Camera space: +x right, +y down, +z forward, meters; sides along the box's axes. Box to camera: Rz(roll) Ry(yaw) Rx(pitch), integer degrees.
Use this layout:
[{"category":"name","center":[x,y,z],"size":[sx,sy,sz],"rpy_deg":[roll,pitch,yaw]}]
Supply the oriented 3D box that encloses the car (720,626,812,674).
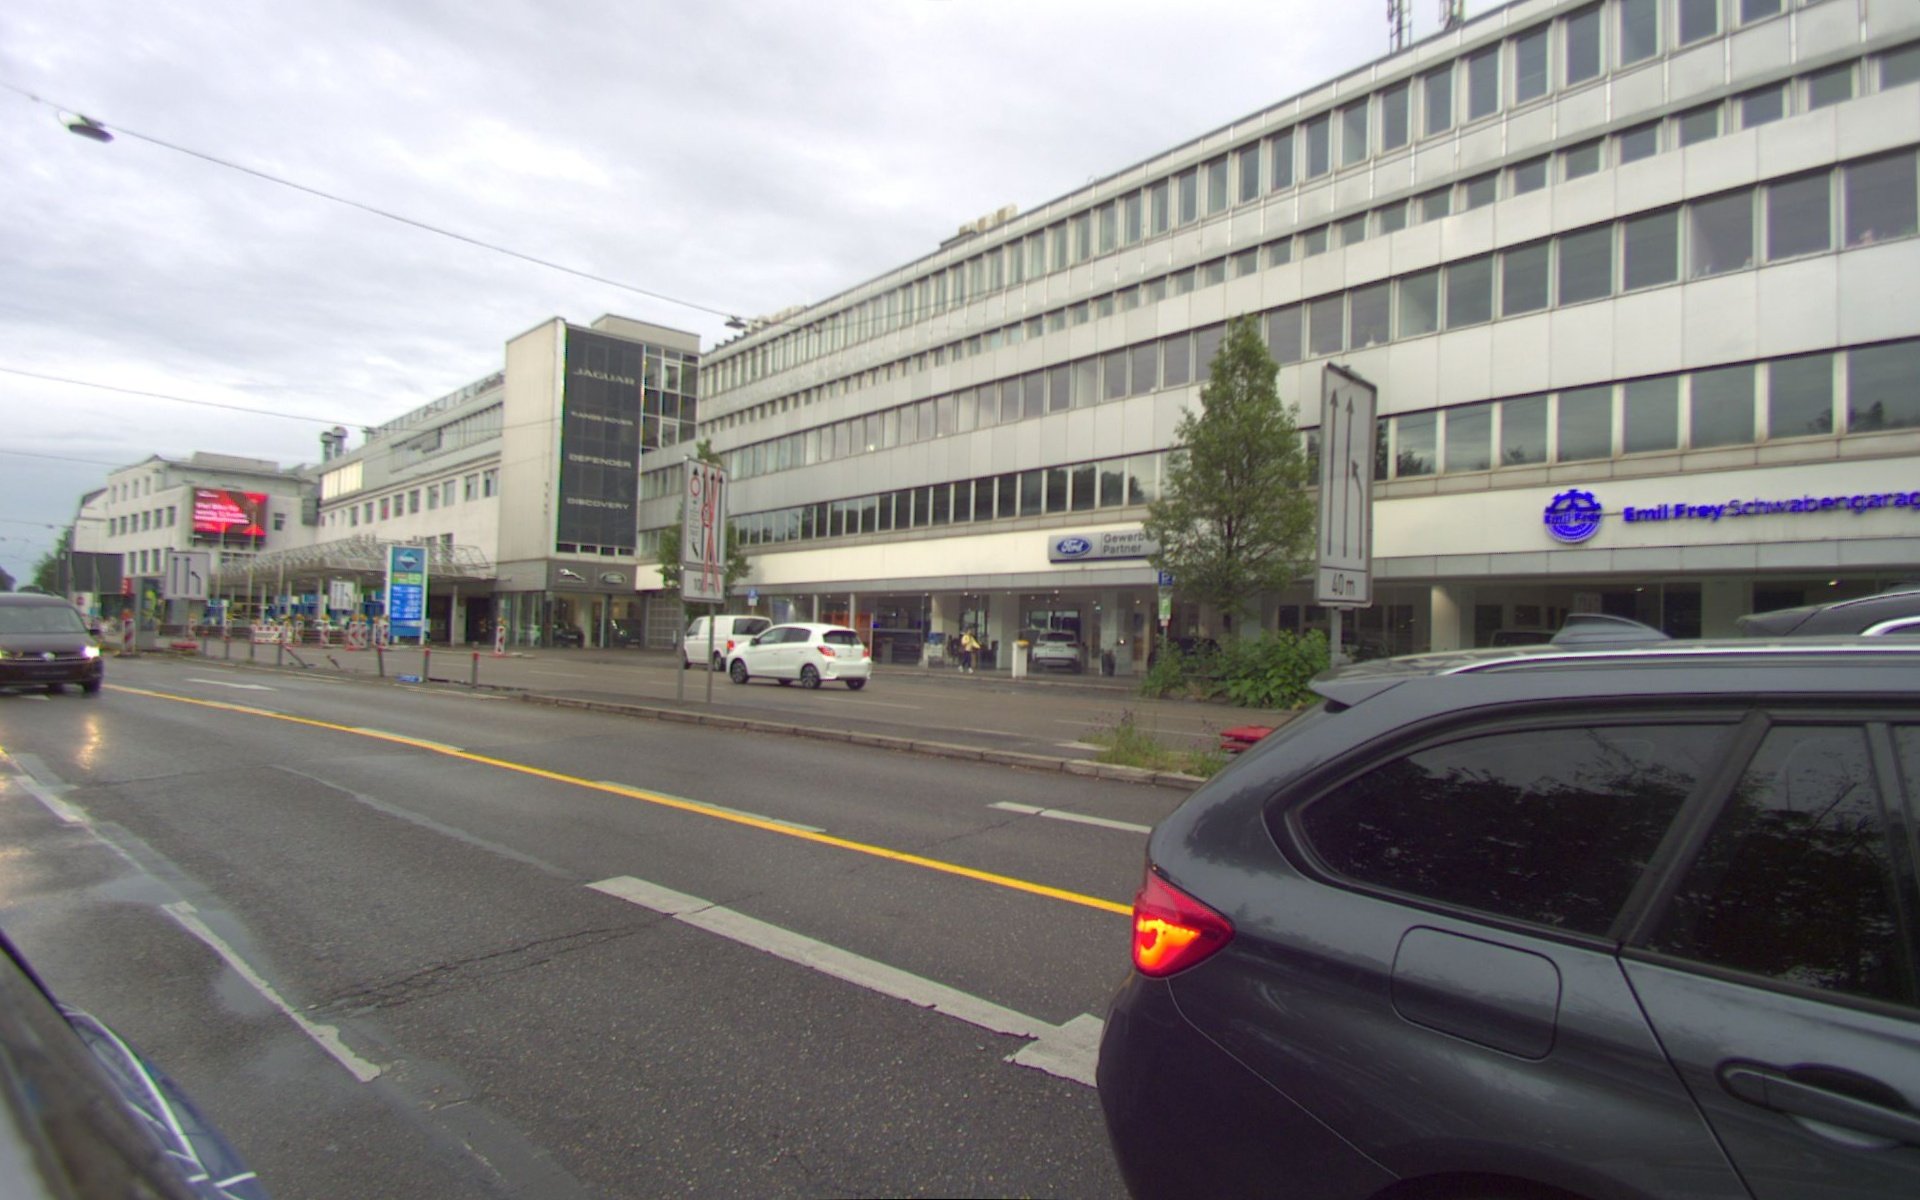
[{"category":"car","center":[-8.285,2.075,43.106],"size":[1.895,1.829,4.169],"rpy_deg":[-1,0,-44]}]

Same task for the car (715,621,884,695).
[{"category":"car","center":[-3.791,1.347,23.624],"size":[3.760,1.544,1.783],"rpy_deg":[-2,-6,39]}]

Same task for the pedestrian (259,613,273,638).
[{"category":"pedestrian","center":[-51.309,1.873,74.824],"size":[0.881,1.828,0.943],"rpy_deg":[-1,0,-35]}]

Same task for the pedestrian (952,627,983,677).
[{"category":"pedestrian","center":[0.278,1.890,37.097],"size":[0.750,1.788,0.865],"rpy_deg":[-1,0,-42]}]

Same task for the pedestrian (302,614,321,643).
[{"category":"pedestrian","center":[-42.470,1.863,66.304],"size":[0.882,1.828,0.942],"rpy_deg":[-1,0,-45]}]

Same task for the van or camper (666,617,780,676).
[{"category":"van or camper","center":[-8.410,1.585,35.652],"size":[1.912,1.938,4.691],"rpy_deg":[2,-3,-41]}]

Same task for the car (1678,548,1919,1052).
[{"category":"car","center":[4.921,0.640,2.915],"size":[4.445,1.668,1.789],"rpy_deg":[-1,0,44]}]

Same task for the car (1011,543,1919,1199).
[{"category":"car","center":[2.340,0.694,1.084],"size":[4.476,1.469,1.757],"rpy_deg":[-1,-3,42]}]

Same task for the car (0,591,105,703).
[{"category":"car","center":[-17.167,0.791,18.430],"size":[4.429,1.828,1.880],"rpy_deg":[-1,0,42]}]
